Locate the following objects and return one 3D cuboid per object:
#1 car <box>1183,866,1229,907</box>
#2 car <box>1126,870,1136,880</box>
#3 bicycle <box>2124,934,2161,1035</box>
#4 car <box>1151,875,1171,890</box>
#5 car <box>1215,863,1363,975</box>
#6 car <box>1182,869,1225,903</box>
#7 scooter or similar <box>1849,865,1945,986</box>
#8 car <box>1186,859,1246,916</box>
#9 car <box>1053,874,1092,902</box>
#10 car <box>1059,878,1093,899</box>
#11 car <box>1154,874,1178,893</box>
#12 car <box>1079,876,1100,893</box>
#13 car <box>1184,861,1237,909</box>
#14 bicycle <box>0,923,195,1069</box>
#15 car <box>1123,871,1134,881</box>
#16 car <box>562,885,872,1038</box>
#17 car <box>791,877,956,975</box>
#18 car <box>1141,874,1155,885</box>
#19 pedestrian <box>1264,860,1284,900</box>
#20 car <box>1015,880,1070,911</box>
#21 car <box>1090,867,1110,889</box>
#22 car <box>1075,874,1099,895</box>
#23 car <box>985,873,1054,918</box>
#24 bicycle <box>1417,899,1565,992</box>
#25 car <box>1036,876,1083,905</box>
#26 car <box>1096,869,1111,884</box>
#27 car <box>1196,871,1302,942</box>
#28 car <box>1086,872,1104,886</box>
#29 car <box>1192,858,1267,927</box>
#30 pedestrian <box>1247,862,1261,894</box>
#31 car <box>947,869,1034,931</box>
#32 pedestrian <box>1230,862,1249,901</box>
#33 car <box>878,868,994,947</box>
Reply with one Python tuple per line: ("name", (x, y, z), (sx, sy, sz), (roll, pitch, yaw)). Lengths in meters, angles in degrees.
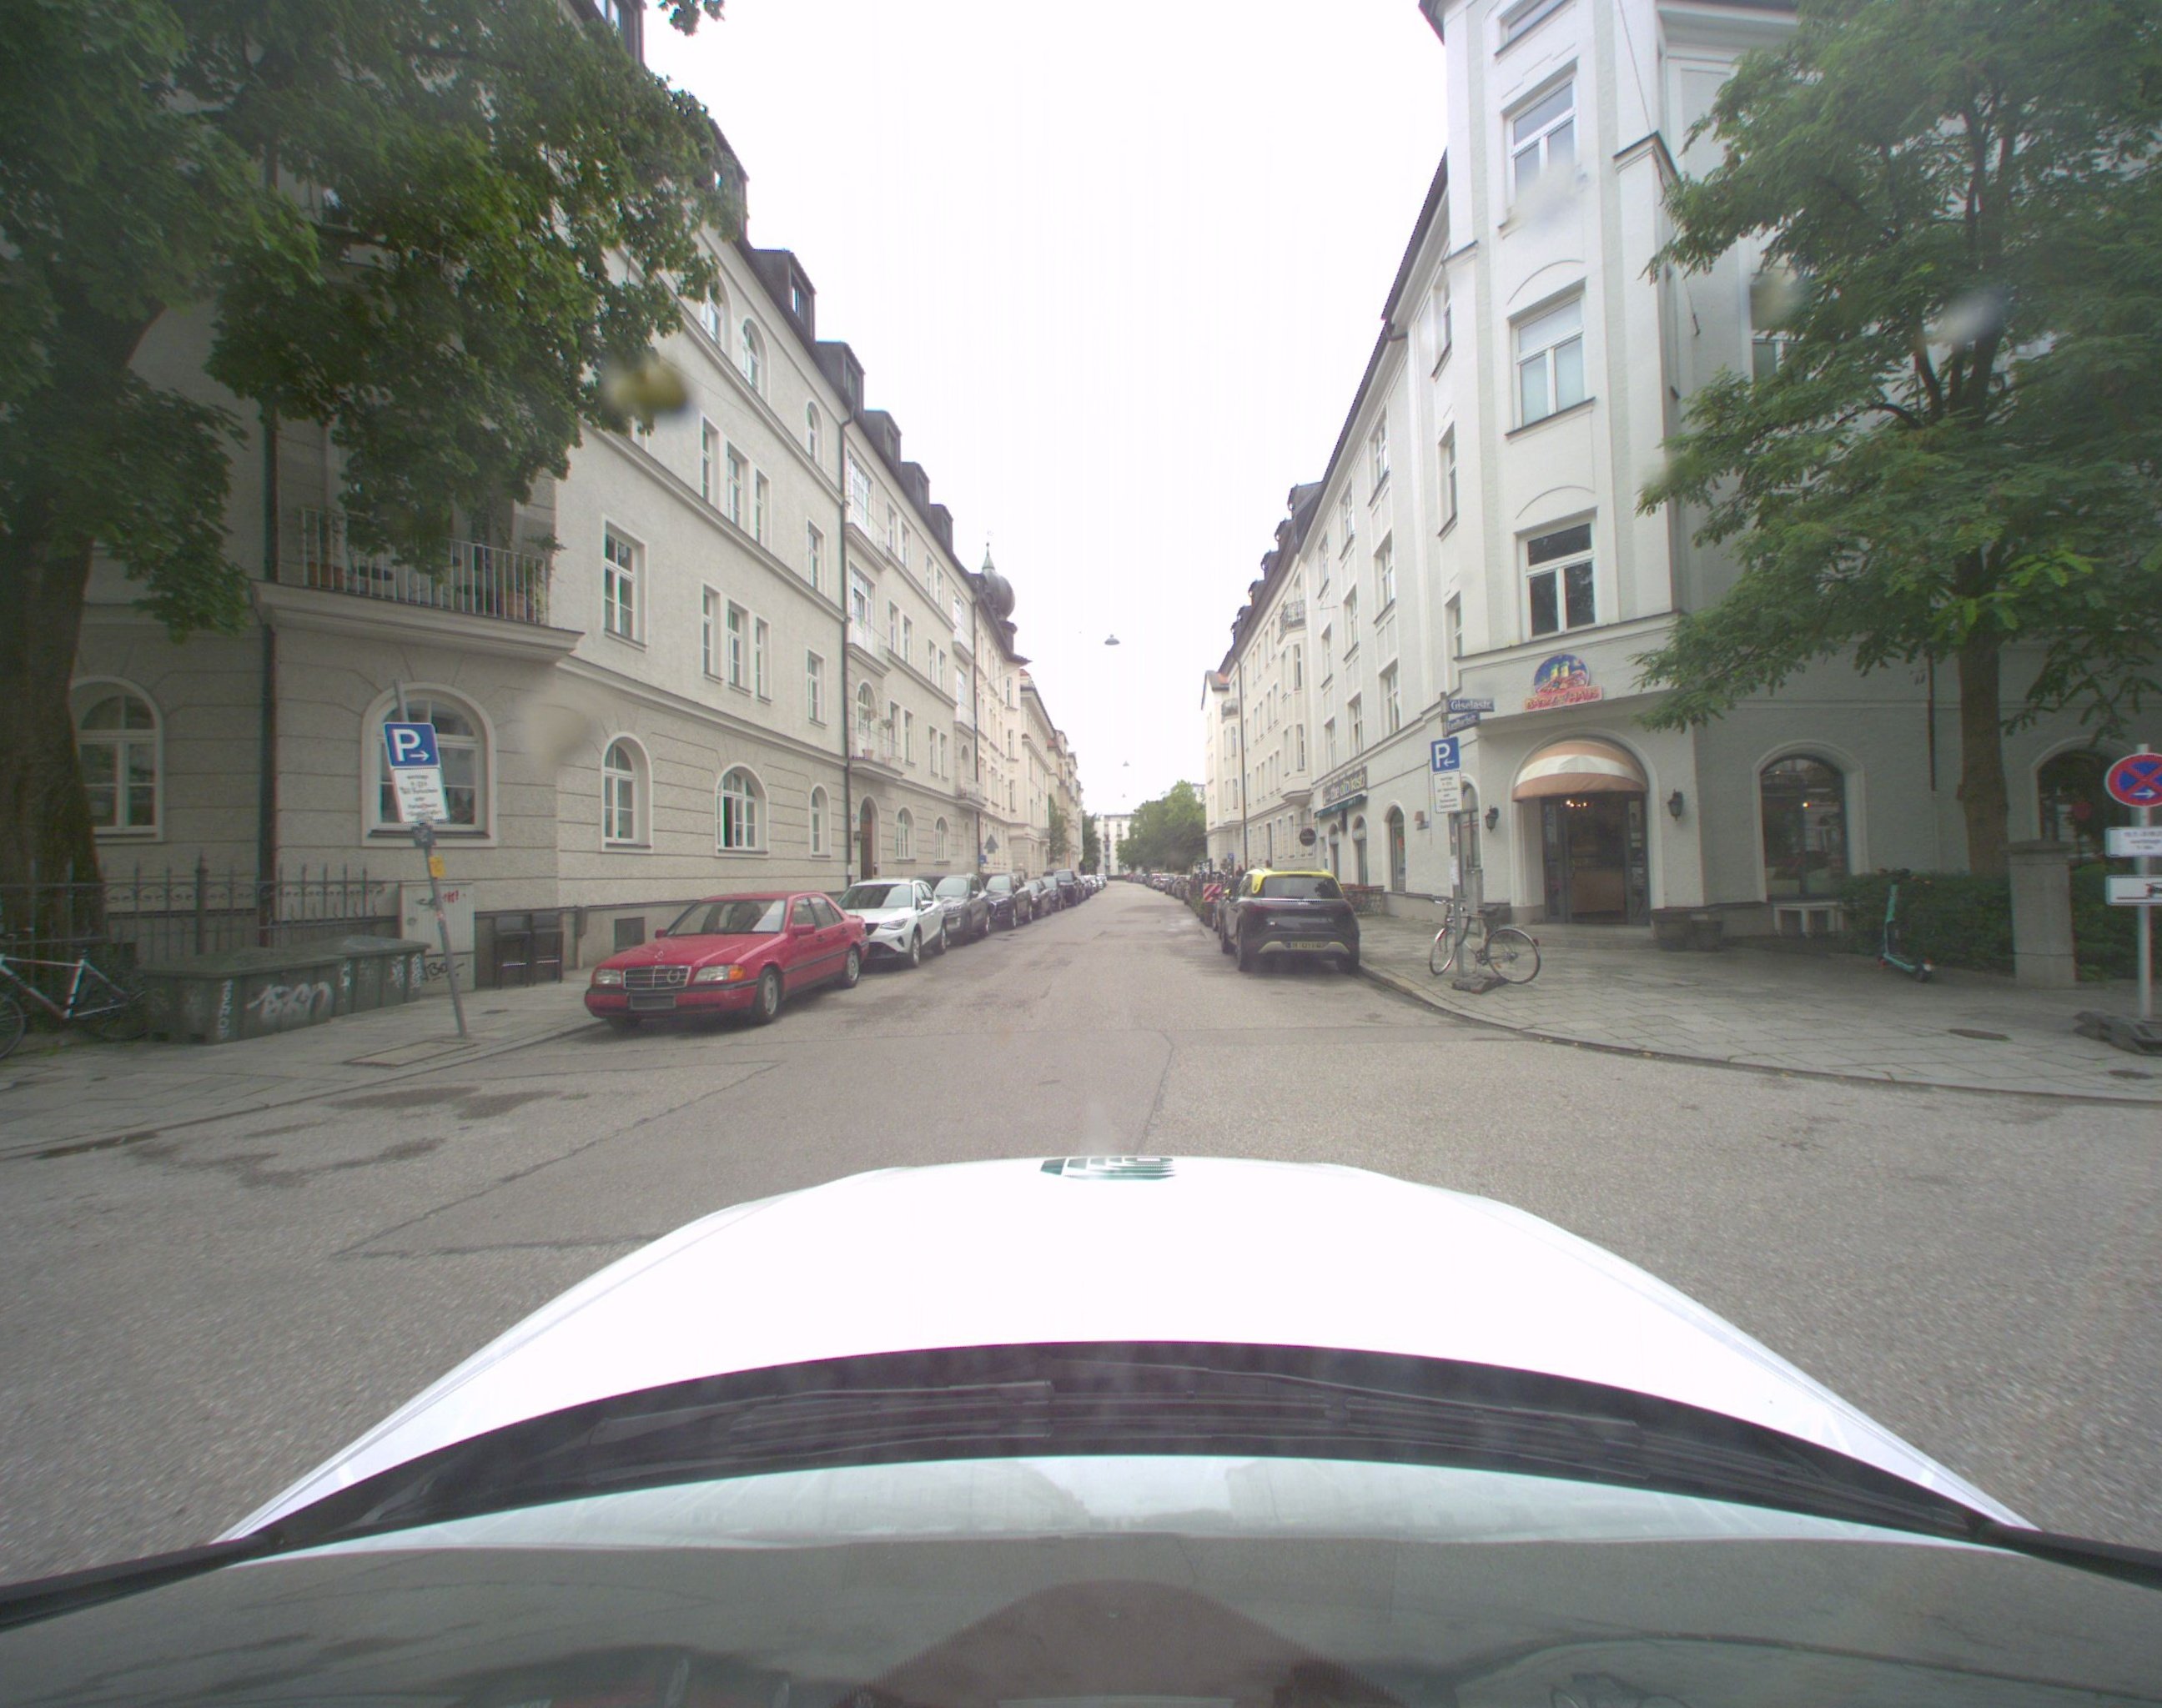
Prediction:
("car", (5.762, 1.454, 37.914), (1.811, 1.788, 4.188), (1, -1, 4))
("car", (10.986, 4.643, 179.275), (1.986, 1.982, 4.893), (-1, -1, 1))
("bicycle", (9.375, 1.029, 6.391), (1.404, 0.783, 0.546), (-3, -2, 12))
("car", (8.128, 2.900, 82.946), (1.723, 1.418, 3.853), (-1, -1, 2))
("car", (3.437, 0.999, 14.226), (1.811, 1.636, 4.293), (1, -1, 4))
("car", (6.523, 1.680, 43.817), (1.984, 1.693, 4.177), (-1, -1, 5))
("scooter or similar", (9.489, 0.790, 9.510), (0.423, 1.279, 1.287), (-1, 0, 29))
("car", (4.852, 1.174, 29.819), (1.811, 1.924, 4.188), (1, -1, 4))
("car", (-0.406, 1.860, 45.484), (1.725, 1.464, 4.006), (-1, -1, 5))
("car", (-0.276, 2.255, 53.262), (1.898, 1.222, 4.003), (-1, -1, 3))
("car", (7.512, 2.578, 72.231), (1.899, 1.576, 4.002), (-1, -1, 2))
("car", (0.747, 2.639, 70.781), (1.727, 1.420, 4.001), (-1, -1, 1))
("car", (5.321, 1.265, 33.982), (1.983, 1.857, 4.352), (-1, -1, 6))
("bicycle", (-9.167, 1.236, 7.313), (0.492, 1.052, 1.824), (-1, 1, -4))
("car", (9.697, 4.422, 167.392), (1.986, 1.982, 4.893), (-1, -1, 1))
("car", (-4.082, 1.120, 10.013), (1.723, 1.378, 4.229), (-1, -1, 3))
("car", (-3.618, 1.201, 15.046), (1.988, 1.473, 4.216), (-1, -1, -1))
("car", (10.451, 3.987, 127.907), (1.942, 1.652, 4.002), (-3, -2, 2))
("pedestrian", (9.254, 1.235, 39.115), (0.774, 1.851, 1.024), (-2, -1, 5))
("car", (-1.662, 1.827, 36.651), (1.897, 1.222, 4.005), (-1, -1, 5))
("car", (1.918, 2.366, 81.109), (1.838, 2.014, 4.002), (-1, -1, 3))
("car", (0.521, 2.396, 64.825), (1.813, 1.574, 4.001), (-1, -1, 2))
("car", (-2.233, 1.522, 30.776), (1.916, 1.546, 4.006), (-1, -1, 5))
("bicycle", (5.165, 1.119, 10.399), (0.541, 0.999, 1.744), (-4, 0, -19))
("car", (-1.031, 1.844, 41.388), (1.897, 1.329, 4.005), (-1, -1, 5))
("car", (3.037, 3.027, 109.736), (1.838, 2.014, 4.002), (-1, -1, 3))
("car", (3.936, 1.171, 19.783), (1.967, 1.498, 4.642), (1, -1, 4))
("car", (1.582, 2.805, 92.023), (1.986, 1.574, 4.001), (-1, -1, 2))
("car", (4.372, 1.103, 24.562), (1.811, 1.871, 4.293), (1, -1, 4))
("pedestrian", (10.323, 1.439, 48.637), (0.773, 1.851, 0.862), (-2, -1, 12))
("car", (-2.646, 1.333, 24.807), (1.986, 1.676, 4.290), (-1, -1, 2))
("pedestrian", (7.737, 1.323, 39.712), (0.774, 1.851, 1.024), (-2, -1, 5))
("car", (-3.391, 1.214, 19.842), (1.986, 1.676, 4.012), (-1, -1, 1))
